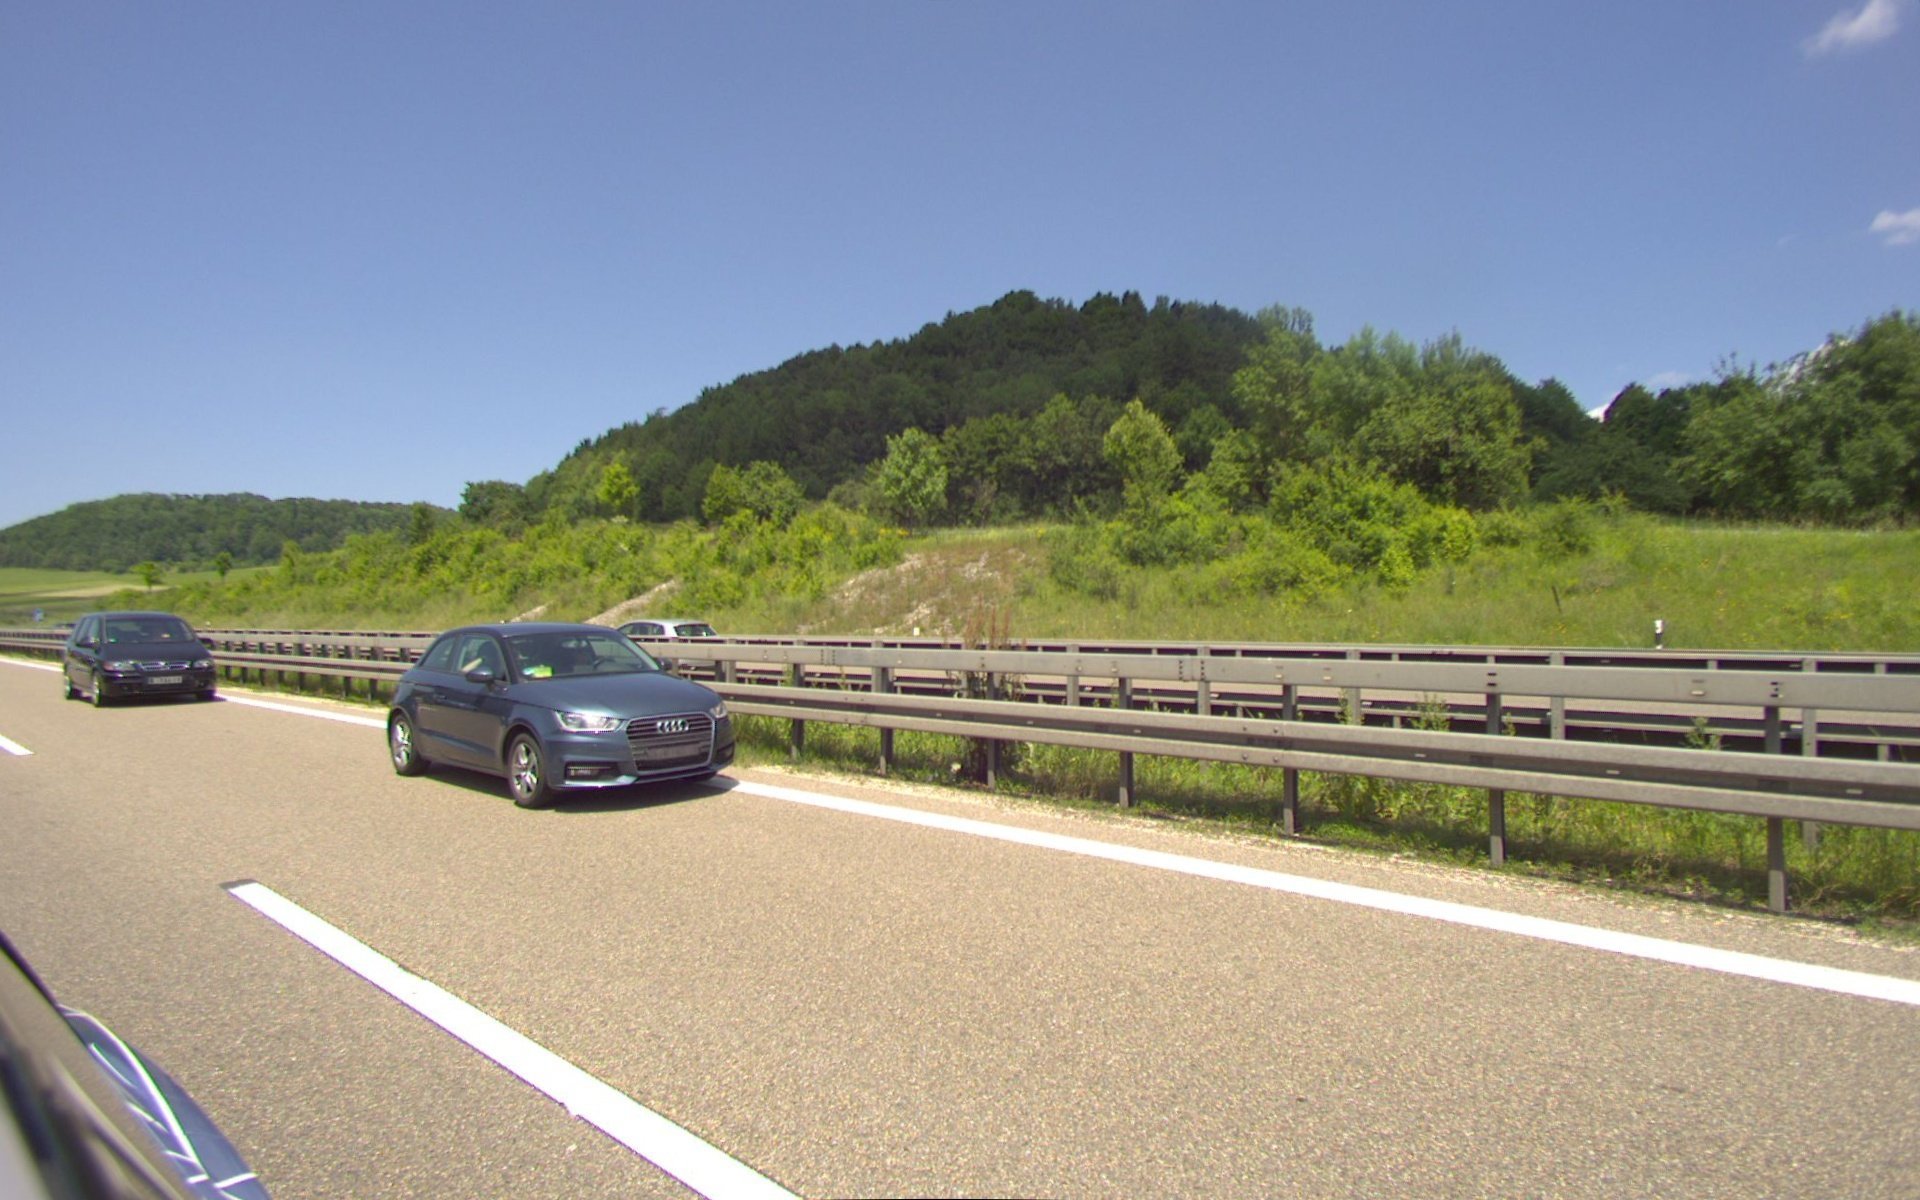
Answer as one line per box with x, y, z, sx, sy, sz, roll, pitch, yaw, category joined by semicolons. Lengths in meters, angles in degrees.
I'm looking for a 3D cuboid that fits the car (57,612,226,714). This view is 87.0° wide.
-15.088;1.068;18.578;4.445;1.647;1.781;-1;-1;43;car

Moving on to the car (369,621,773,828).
-3.558;0.903;8.900;3.998;1.399;1.671;-1;-1;41;car

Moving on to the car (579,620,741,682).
-7.949;1.282;26.631;4.525;1.466;1.973;-1;-1;41;car

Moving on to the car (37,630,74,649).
-69.183;2.981;77.402;3.739;1.379;1.673;-1;-1;41;car
